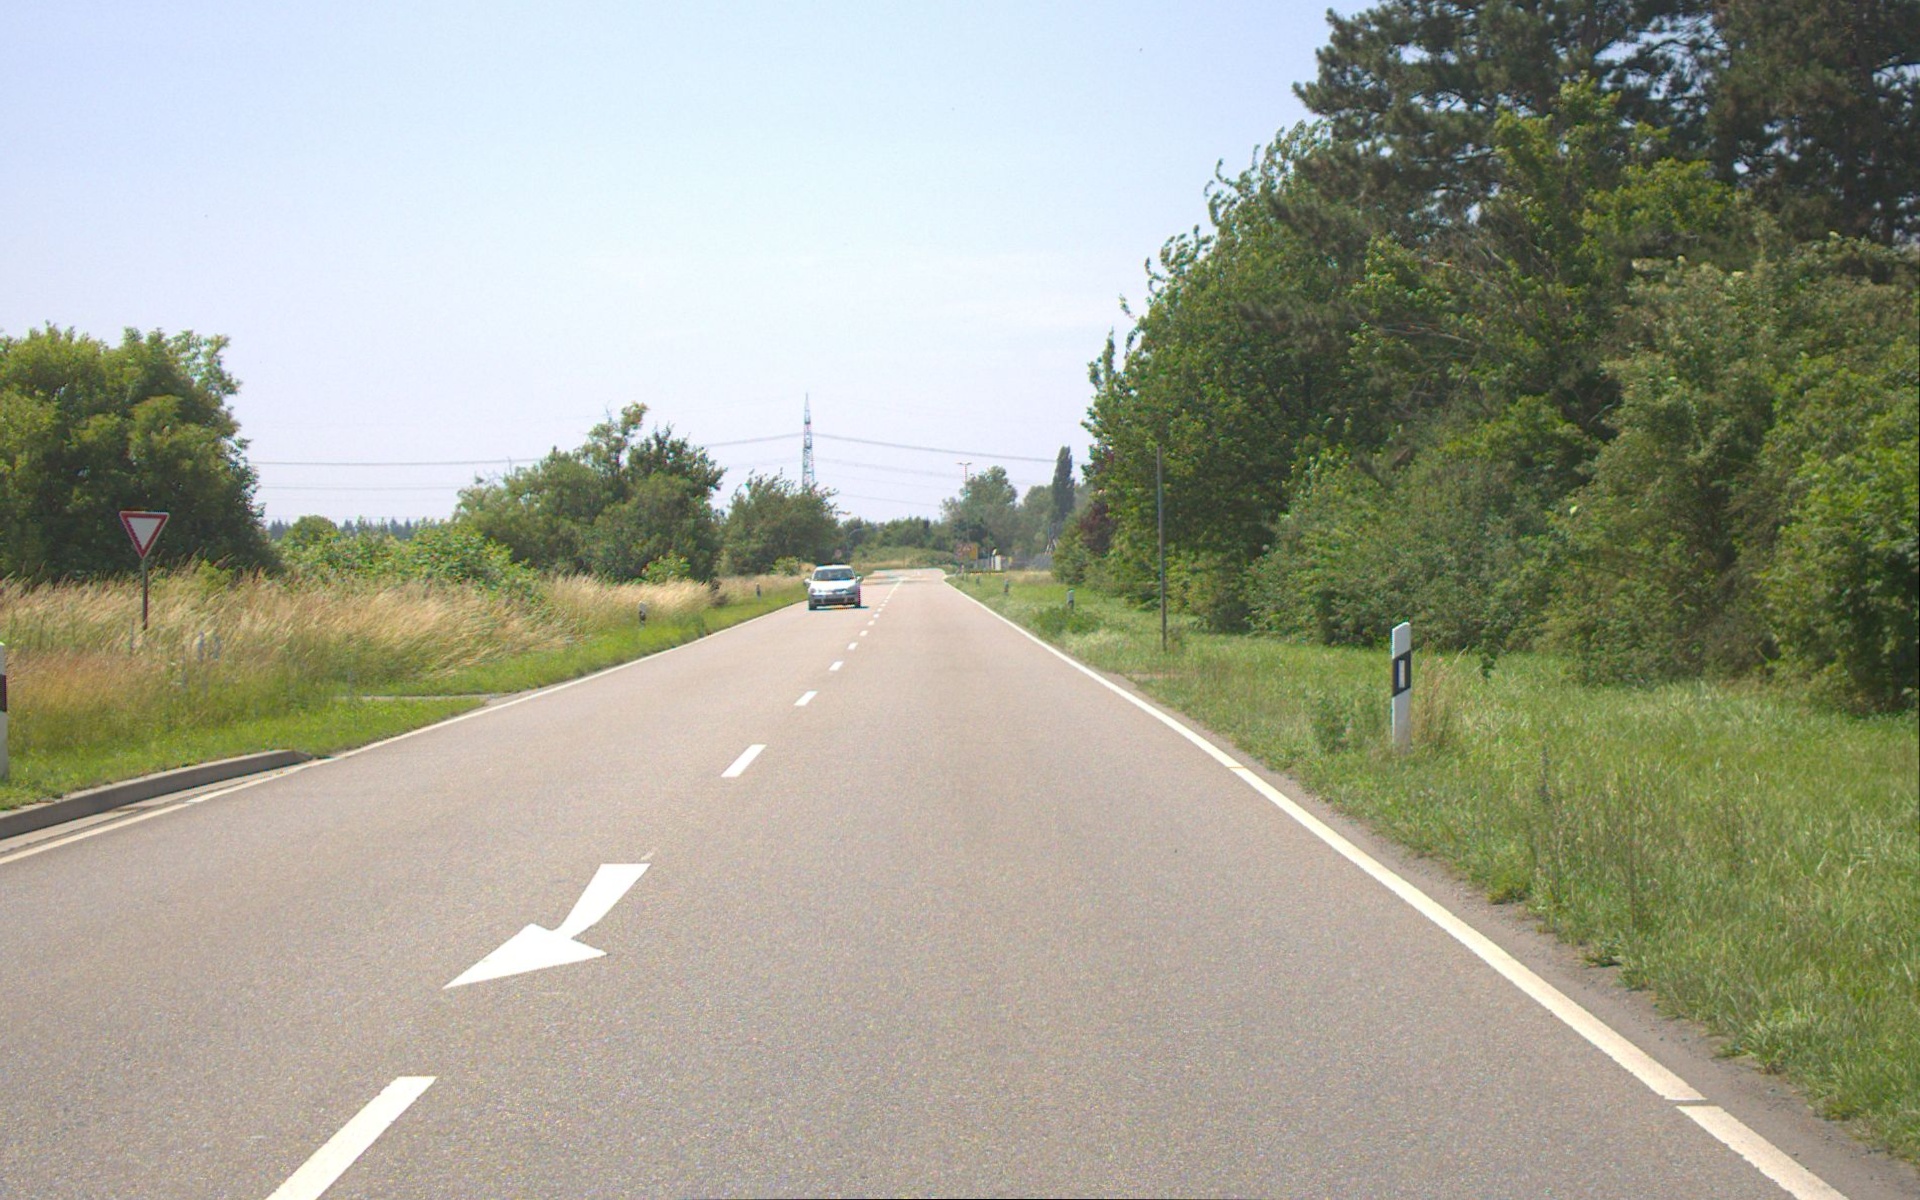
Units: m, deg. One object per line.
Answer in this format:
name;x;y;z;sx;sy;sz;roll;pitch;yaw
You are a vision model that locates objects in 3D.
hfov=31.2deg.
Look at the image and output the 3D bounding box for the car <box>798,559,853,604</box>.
car;-4.569;-0.632;117.200;1.678;1.416;4.422;-3;1;-1
